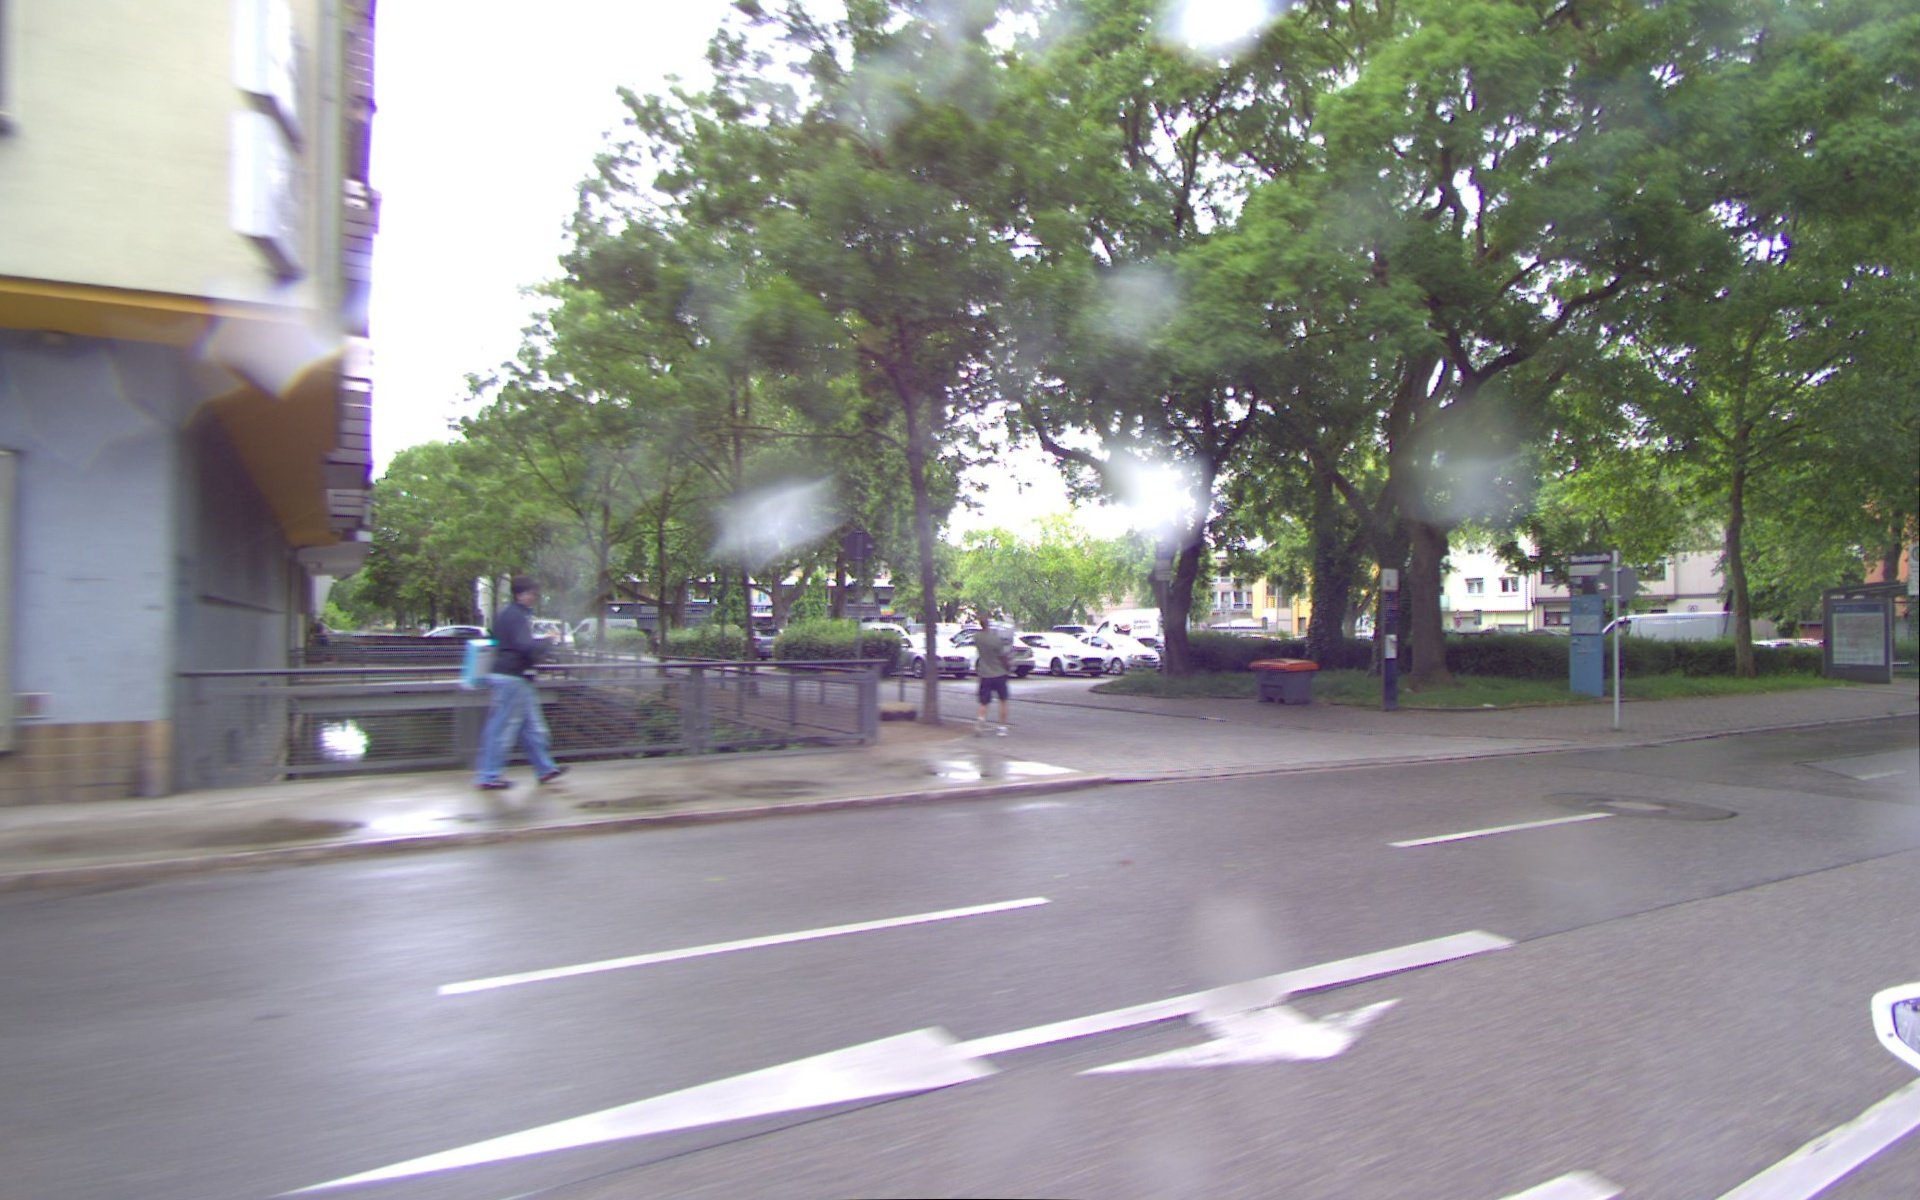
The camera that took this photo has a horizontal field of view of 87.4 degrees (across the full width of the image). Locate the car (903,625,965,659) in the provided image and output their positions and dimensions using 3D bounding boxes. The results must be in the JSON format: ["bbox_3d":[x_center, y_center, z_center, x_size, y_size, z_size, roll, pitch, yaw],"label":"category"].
[{"bbox_3d":[-1.505,2.322,55.743,1.782,1.848,3.968,1,-2,-30],"label":"car"}]

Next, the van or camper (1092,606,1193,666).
[{"bbox_3d":[7.819,1.527,43.346,2.073,2.463,4.310,1,-2,-28],"label":"van or camper"}]

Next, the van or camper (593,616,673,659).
[{"bbox_3d":[-19.803,2.210,60.473,2.912,2.433,8.585,1,-2,-30],"label":"van or camper"}]

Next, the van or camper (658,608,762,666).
[{"bbox_3d":[-11.880,1.677,47.056,2.532,2.433,8.587,1,-2,-29],"label":"van or camper"}]

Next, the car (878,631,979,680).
[{"bbox_3d":[-1.088,1.749,32.724,1.841,1.483,3.614,1,-2,-29],"label":"car"}]

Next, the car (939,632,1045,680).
[{"bbox_3d":[1.015,1.844,33.947,1.840,1.483,3.971,1,-2,-28],"label":"car"}]

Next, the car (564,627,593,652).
[{"bbox_3d":[-27.398,2.843,72.088,1.506,1.568,3.844,2,1,-28],"label":"car"}]

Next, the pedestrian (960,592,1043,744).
[{"bbox_3d":[0.549,0.885,13.511,0.808,1.950,0.914,1,-1,-24],"label":"pedestrian"}]

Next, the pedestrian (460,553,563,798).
[{"bbox_3d":[-3.940,0.642,8.865,0.771,2.040,0.748,1,-1,-23],"label":"pedestrian"}]

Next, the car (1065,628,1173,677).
[{"bbox_3d":[5.655,1.852,36.230,1.840,1.647,3.971,1,-2,-28],"label":"car"}]

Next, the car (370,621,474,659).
[{"bbox_3d":[-23.844,1.764,44.592,3.953,1.617,1.768,2,-2,-30],"label":"car"}]

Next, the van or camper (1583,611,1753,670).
[{"bbox_3d":[25.040,1.397,35.701,1.978,1.975,4.572,1,-2,-31],"label":"van or camper"}]

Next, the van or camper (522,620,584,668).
[{"bbox_3d":[-18.610,1.993,45.800,1.807,2.040,4.597,4,-4,-32],"label":"van or camper"}]

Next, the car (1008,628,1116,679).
[{"bbox_3d":[3.508,1.815,35.111,1.840,1.647,4.022,1,-2,-28],"label":"car"}]
